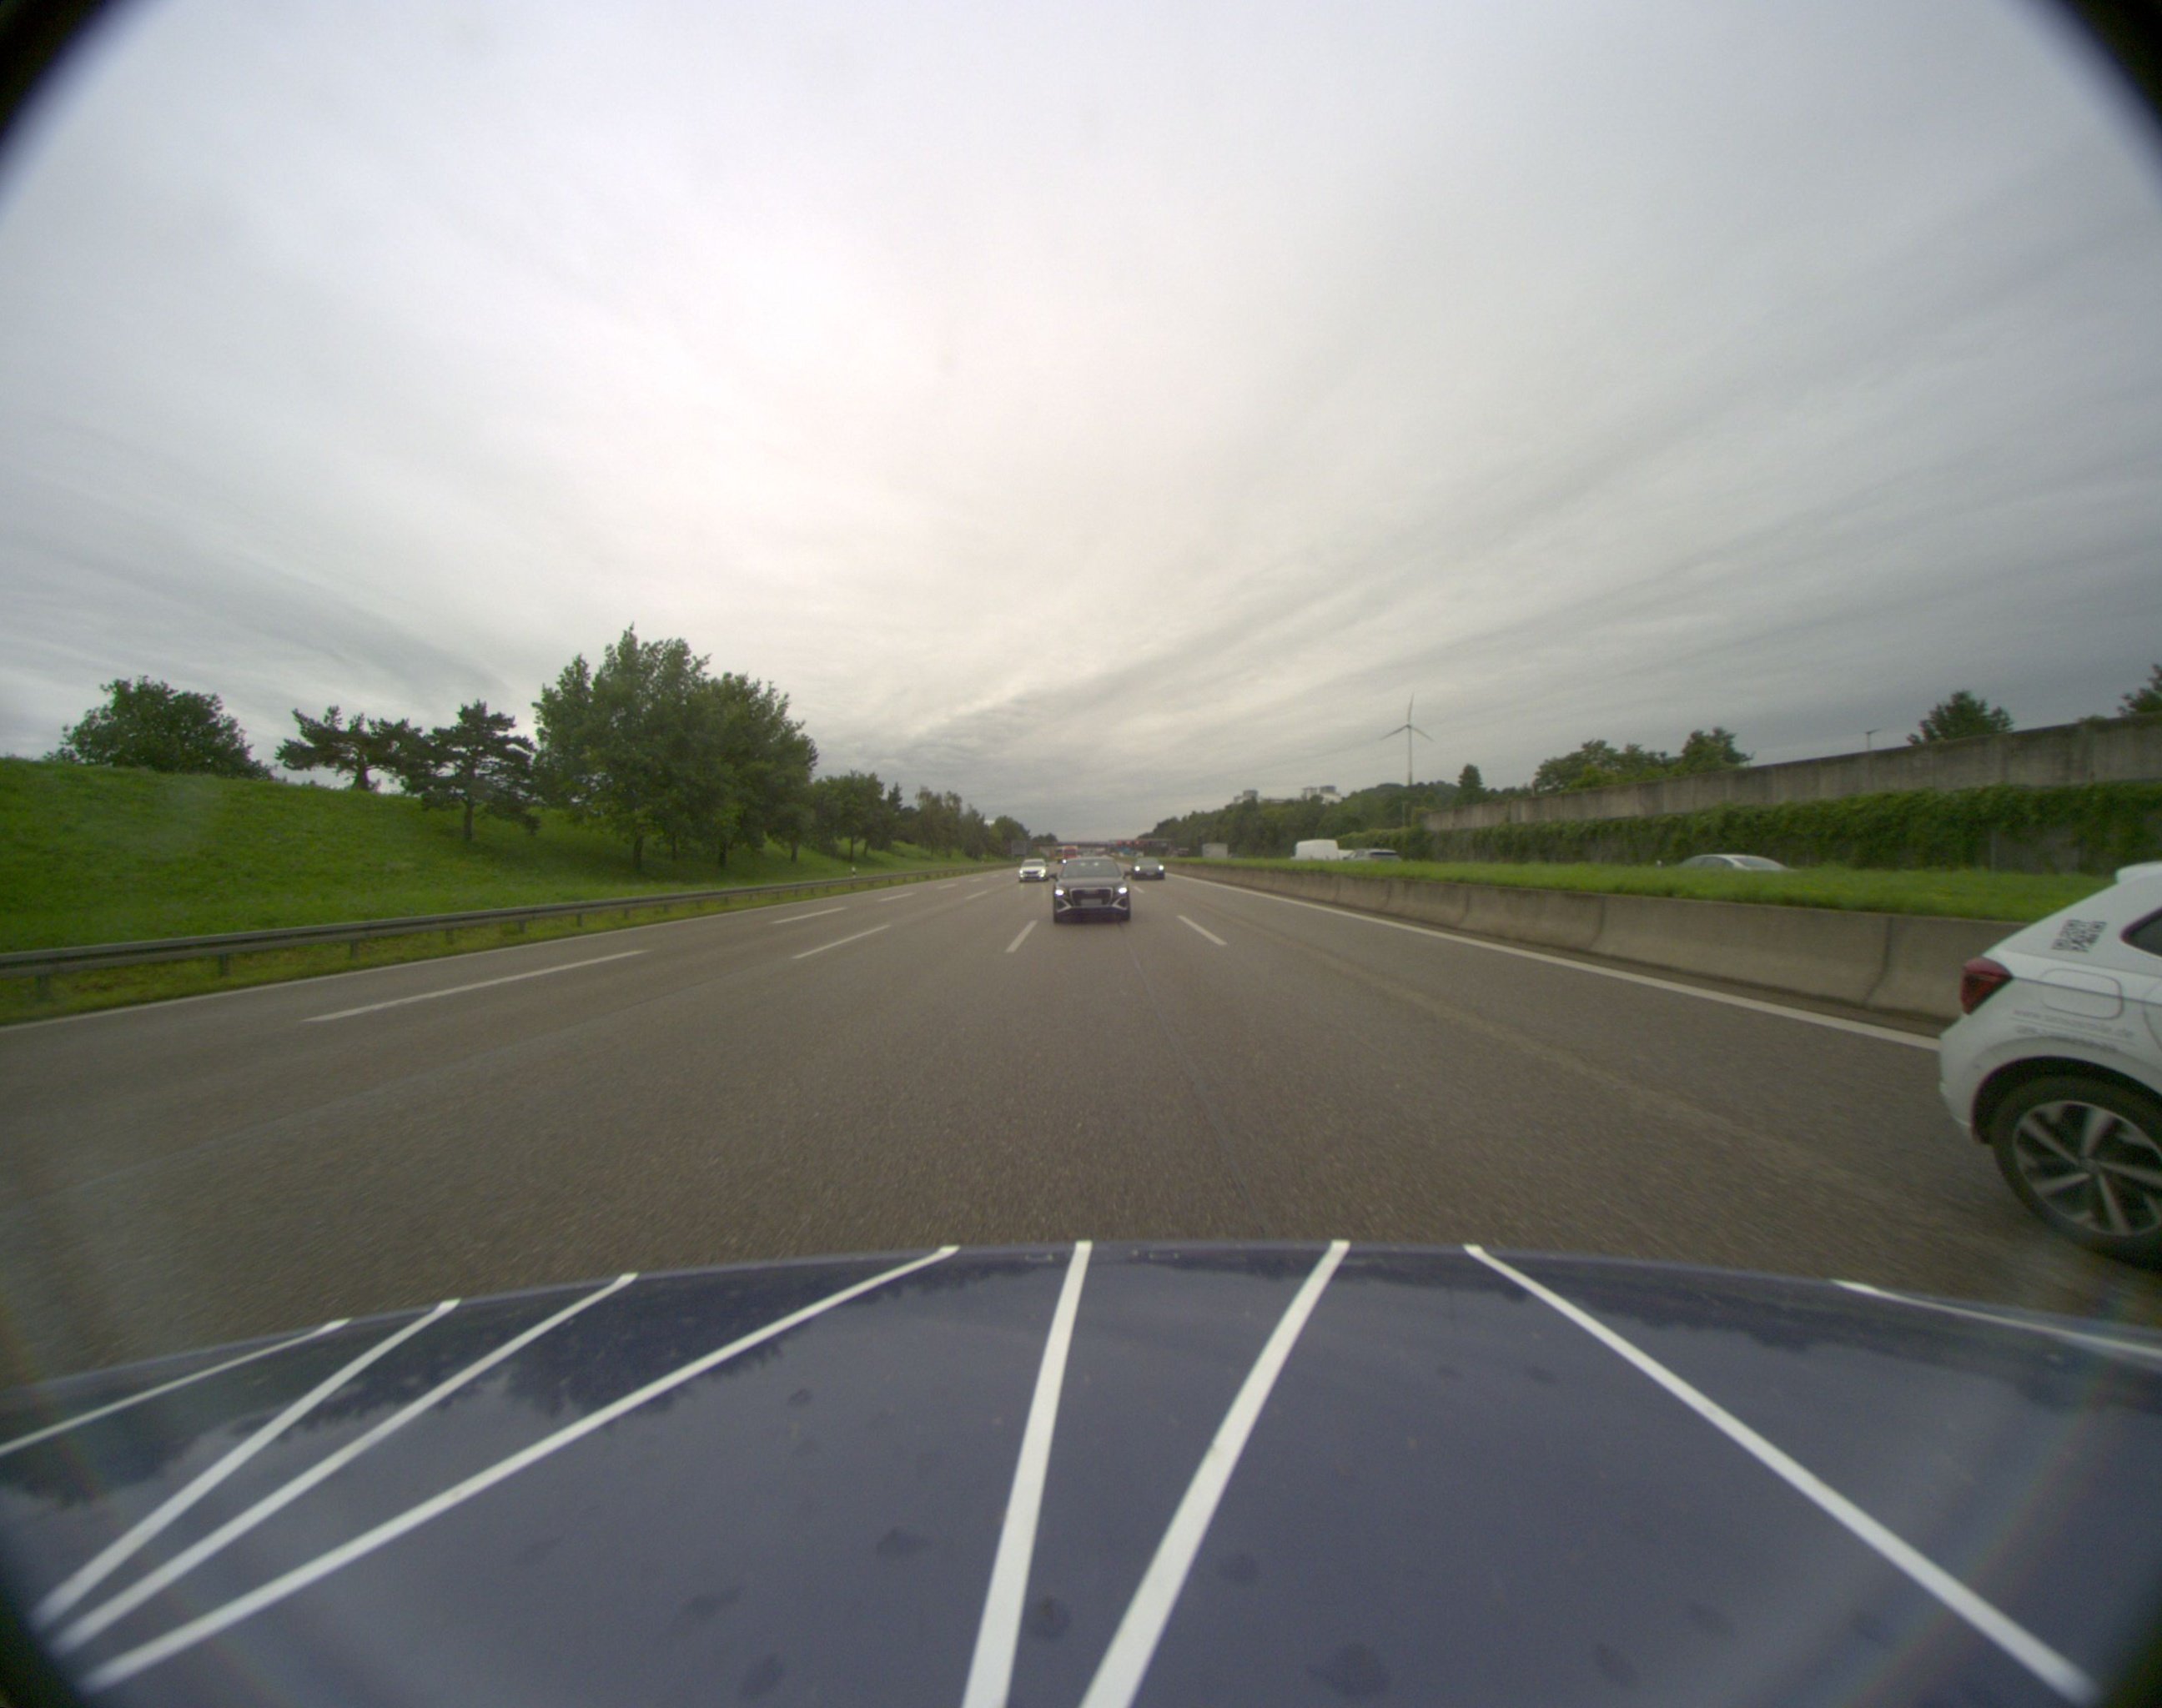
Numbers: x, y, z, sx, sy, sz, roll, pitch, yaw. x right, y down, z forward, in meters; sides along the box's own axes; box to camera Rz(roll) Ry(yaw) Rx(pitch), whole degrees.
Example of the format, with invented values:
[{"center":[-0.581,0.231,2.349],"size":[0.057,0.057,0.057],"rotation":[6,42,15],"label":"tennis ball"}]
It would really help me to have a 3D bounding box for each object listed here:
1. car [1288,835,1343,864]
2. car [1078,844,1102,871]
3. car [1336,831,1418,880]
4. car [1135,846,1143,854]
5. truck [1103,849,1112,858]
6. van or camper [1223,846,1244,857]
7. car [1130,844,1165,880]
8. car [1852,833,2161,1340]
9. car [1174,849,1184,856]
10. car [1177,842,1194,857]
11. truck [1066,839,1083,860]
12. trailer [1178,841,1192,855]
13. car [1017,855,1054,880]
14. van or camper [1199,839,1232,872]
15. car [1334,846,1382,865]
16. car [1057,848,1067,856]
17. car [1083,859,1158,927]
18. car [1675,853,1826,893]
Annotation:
[{"center":[17.372,-0.263,56.710],"size":[2.132,1.900,6.535],"rotation":[-2,-1,1],"label":"car"},{"center":[1.034,0.316,84.788],"size":[2.459,2.726,8.265],"rotation":[-2,1,1],"label":"car"},{"center":[13.224,0.048,34.254],"size":[1.928,2.002,4.470],"rotation":[-2,1,1],"label":"car"},{"center":[20.210,-1.447,266.023],"size":[2.327,2.719,7.315],"rotation":[-2,1,1],"label":"car"},{"center":[6.645,-0.112,190.631],"size":[1.998,2.002,4.000],"rotation":[-2,0,1],"label":"truck"},{"center":[28.032,-0.529,139.792],"size":[2.197,1.790,8.435],"rotation":[-2,1,0],"label":"van or camper"},{"center":[3.935,0.450,45.731],"size":[1.725,2.002,3.851],"rotation":[-2,1,1],"label":"car"},{"center":[4.287,0.729,1.040],"size":[1.757,1.608,4.663],"rotation":[-1,0,0],"label":"car"},{"center":[22.827,-0.356,176.675],"size":[1.787,1.623,4.293],"rotation":[-2,1,0],"label":"car"},{"center":[14.475,-0.629,105.086],"size":[1.772,2.002,4.000],"rotation":[-2,1,1],"label":"car"},{"center":[-1.105,-0.777,140.728],"size":[2.836,3.634,10.670],"rotation":[-2,1,1],"label":"truck"},{"center":[26.368,-1.620,193.428],"size":[2.312,3.271,10.562],"rotation":[-2,1,2],"label":"trailer"},{"center":[-2.948,0.853,50.340],"size":[1.998,1.555,4.910],"rotation":[-2,0,1],"label":"car"},{"center":[17.206,0.160,97.828],"size":[2.714,3.925,8.401],"rotation":[-2,1,1],"label":"van or camper"},{"center":[20.811,0.109,57.278],"size":[1.884,1.336,4.527],"rotation":[-2,0,0],"label":"car"},{"center":[-4.686,-0.499,188.799],"size":[1.998,2.002,4.000],"rotation":[-2,1,2],"label":"car"},{"center":[0.885,0.876,18.610],"size":[1.616,1.403,3.326],"rotation":[-2,1,0],"label":"car"},{"center":[20.149,0.535,23.035],"size":[1.609,1.089,3.274],"rotation":[-2,0,-2],"label":"car"}]
